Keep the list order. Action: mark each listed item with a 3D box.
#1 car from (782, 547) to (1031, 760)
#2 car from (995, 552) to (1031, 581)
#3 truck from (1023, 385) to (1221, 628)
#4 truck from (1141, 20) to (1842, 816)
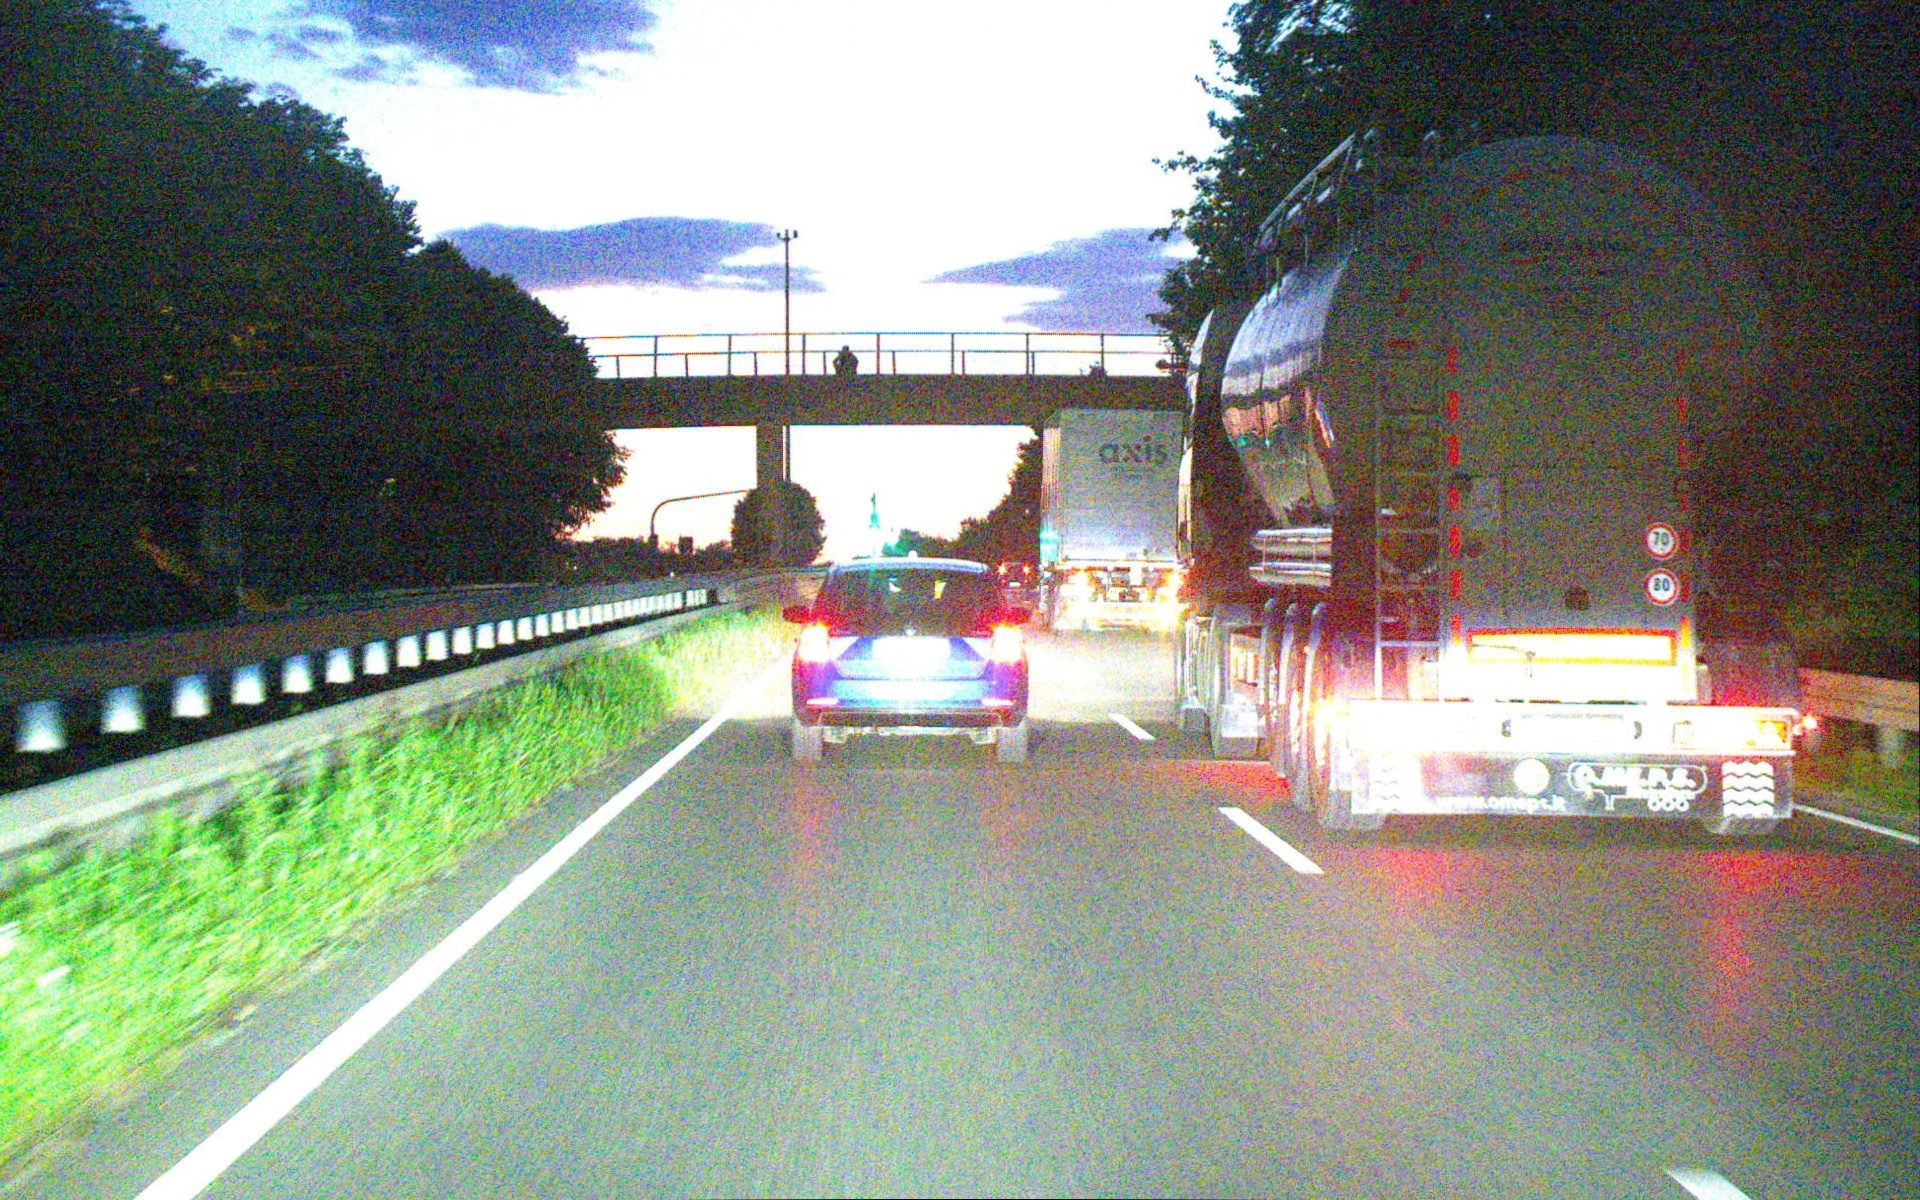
[{"bbox_3d":[-0.400,0.350,25.615,1.695,1.447,3.914,1,0,-1],"label":"car"},{"bbox_3d":[2.707,-1.695,175.691,1.695,1.447,3.914,1,0,-1],"label":"car"},{"bbox_3d":[2.879,-1.653,65.018,2.883,4.092,12.684,1,0,-1],"label":"truck"},{"bbox_3d":[3.106,-1.000,24.418,2.687,4.092,13.142,1,0,-1],"label":"truck"}]
